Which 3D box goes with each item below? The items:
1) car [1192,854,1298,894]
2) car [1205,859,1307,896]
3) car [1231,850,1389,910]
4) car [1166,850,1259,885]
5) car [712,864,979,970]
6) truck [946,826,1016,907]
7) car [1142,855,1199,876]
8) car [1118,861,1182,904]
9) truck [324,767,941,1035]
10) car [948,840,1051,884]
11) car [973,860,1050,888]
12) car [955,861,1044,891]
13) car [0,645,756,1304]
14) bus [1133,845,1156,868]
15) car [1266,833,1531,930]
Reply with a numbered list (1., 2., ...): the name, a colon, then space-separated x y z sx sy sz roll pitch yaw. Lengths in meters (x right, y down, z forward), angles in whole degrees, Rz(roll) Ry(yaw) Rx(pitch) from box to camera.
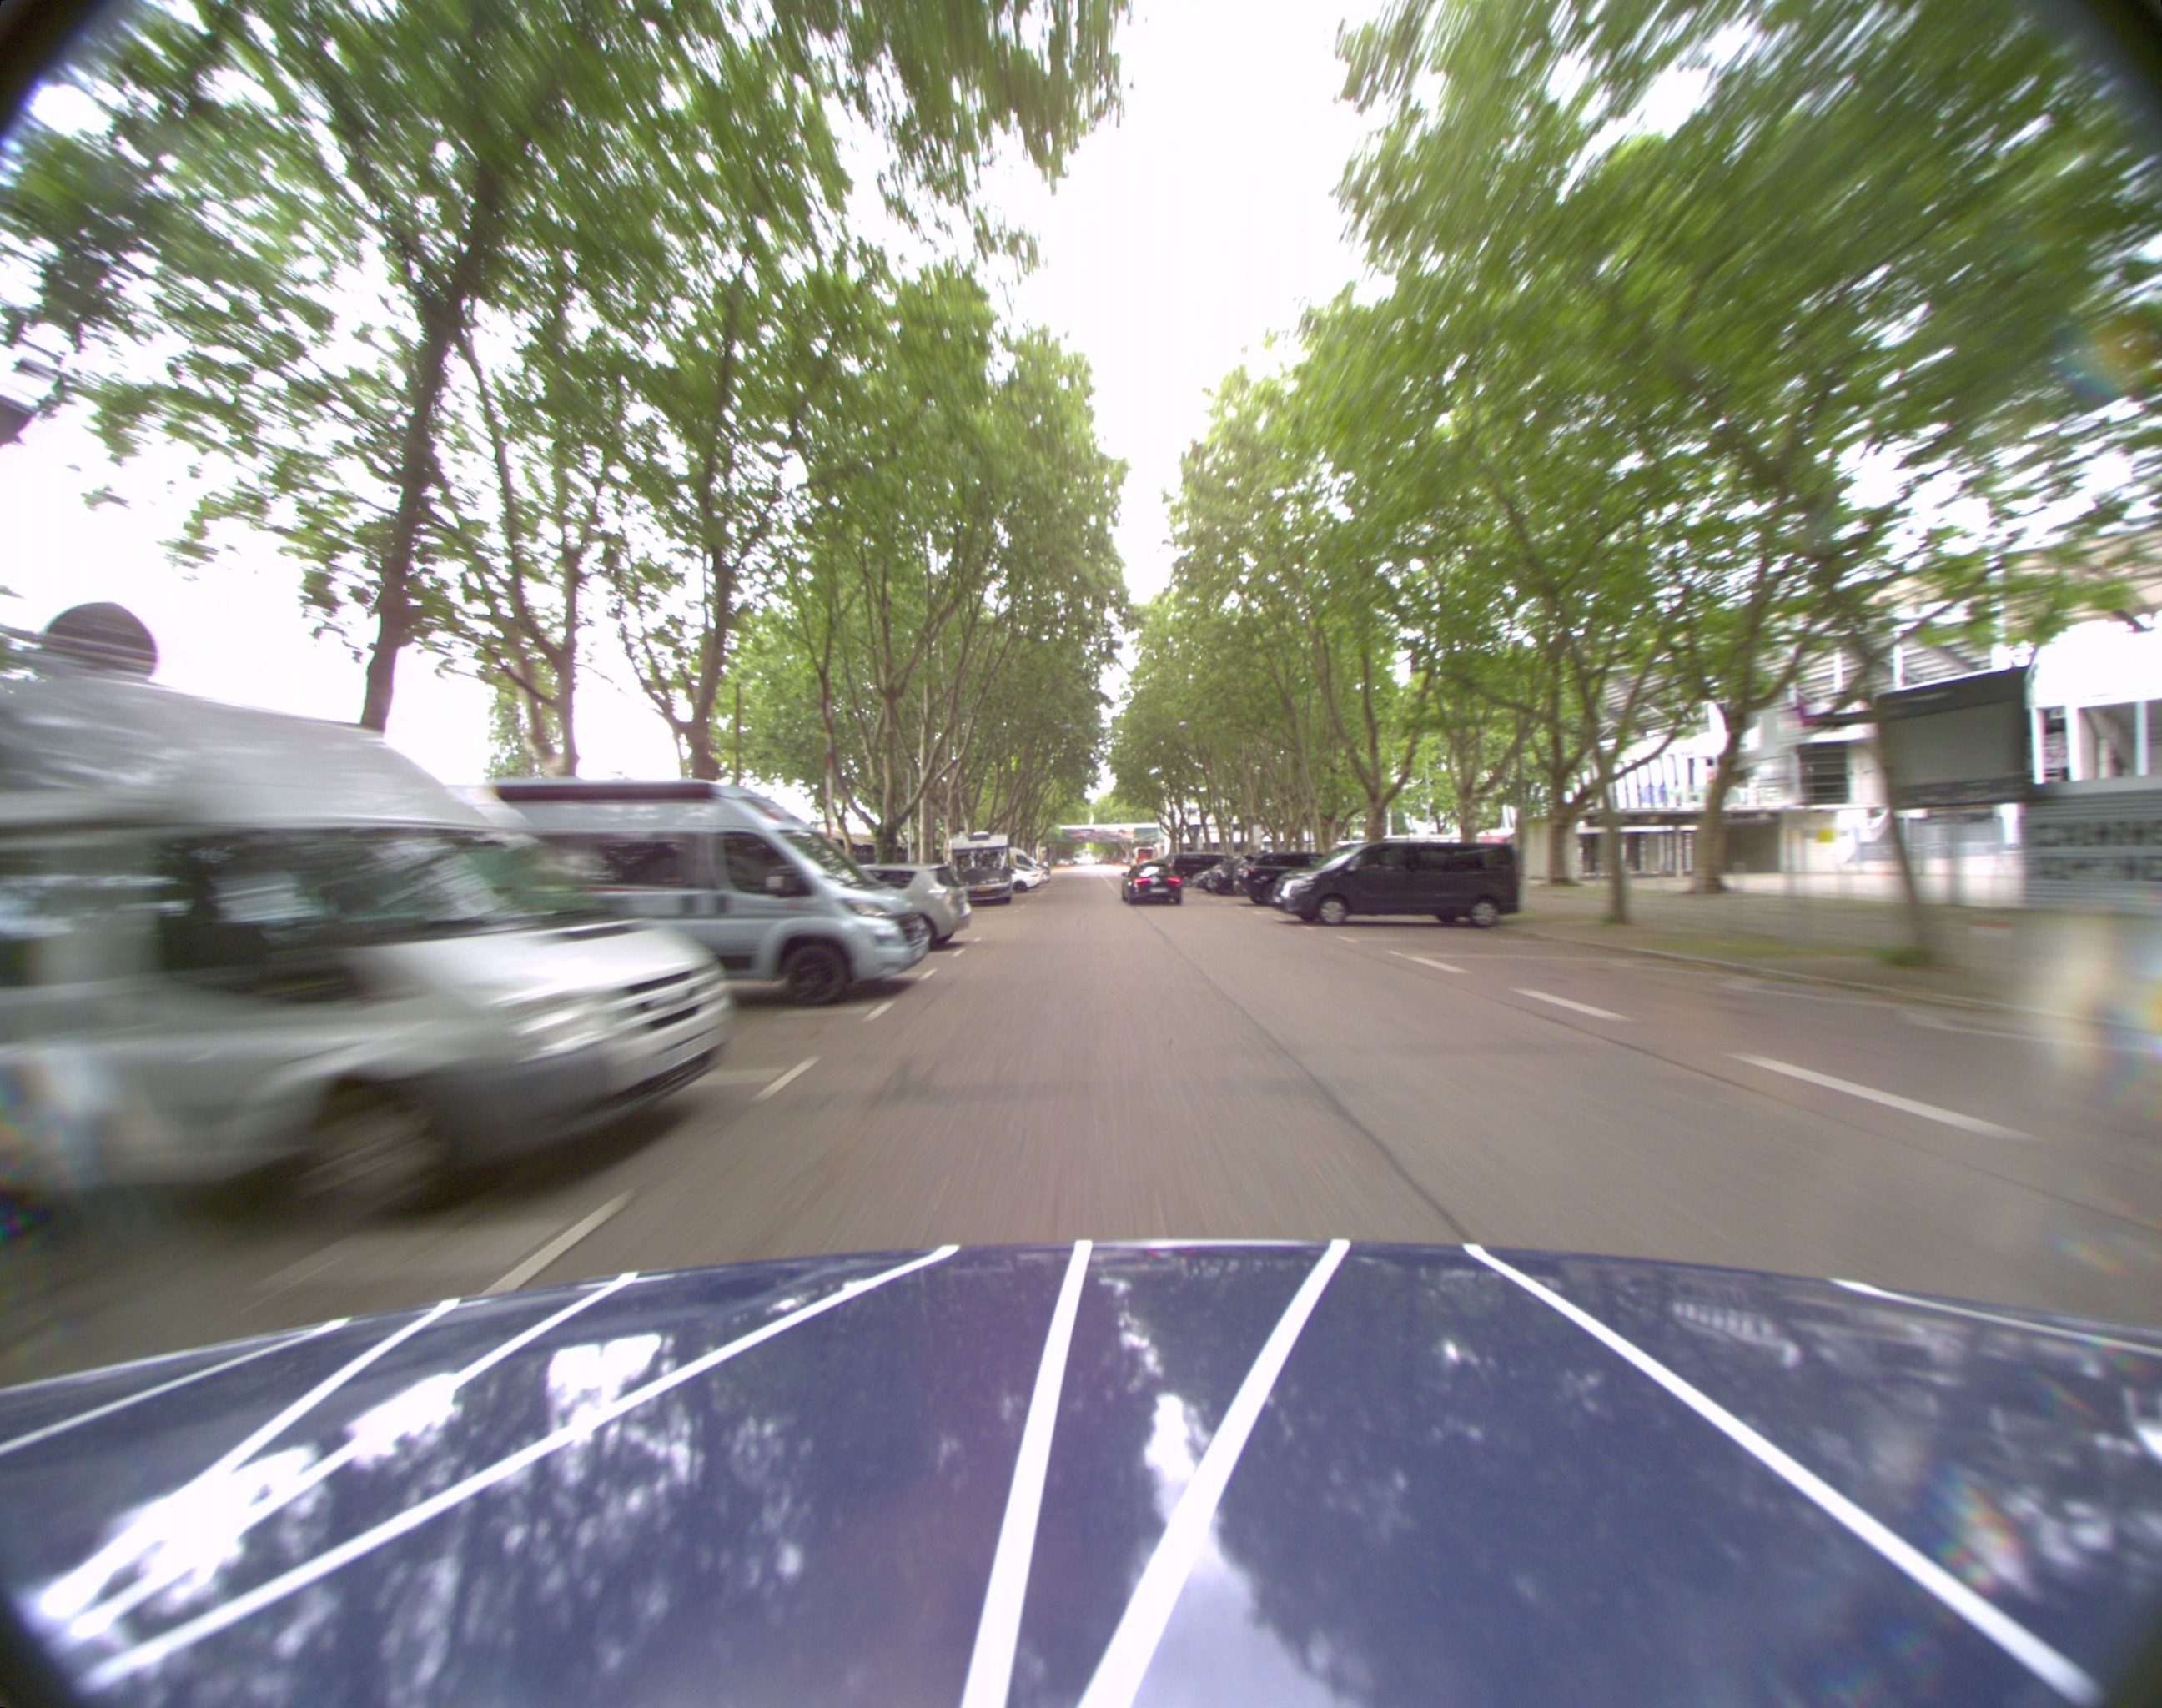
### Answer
1. car: 7.570 0.938 35.390 4.590 1.771 1.798 1 -1 2
2. car: 7.461 1.001 32.635 3.907 1.485 1.753 1 0 -2
3. car: 7.497 0.848 25.183 4.665 1.809 1.806 1 -1 0
4. car: 7.398 0.742 43.058 4.917 1.913 2.208 0 0 1
5. car: -4.283 1.131 14.259 4.350 1.608 1.804 -3 0 3
6. truck: -4.233 0.483 31.924 2.466 2.920 7.533 -2 0 -8
7. car: 7.393 0.952 62.886 4.527 1.608 1.758 -1 0 3
8. car: 2.359 0.965 27.008 1.659 1.356 4.111 1 0 -3
9. truck: -5.144 0.537 9.383 6.309 2.699 2.098 -2 0 2
10. car: -5.636 0.526 52.710 6.902 2.679 2.126 -2 0 -7
11. car: -4.115 1.138 44.942 4.374 1.437 1.611 -2 0 -10
12. car: -4.183 1.122 39.428 4.330 1.294 1.700 -2 0 1
13. car: -4.909 0.594 4.207 5.241 2.673 1.957 -3 0 1
14. bus: 9.292 0.304 111.710 2.658 3.136 12.370 2 0 2
15. car: 7.334 0.627 17.943 5.450 2.115 1.940 1 0 -1
